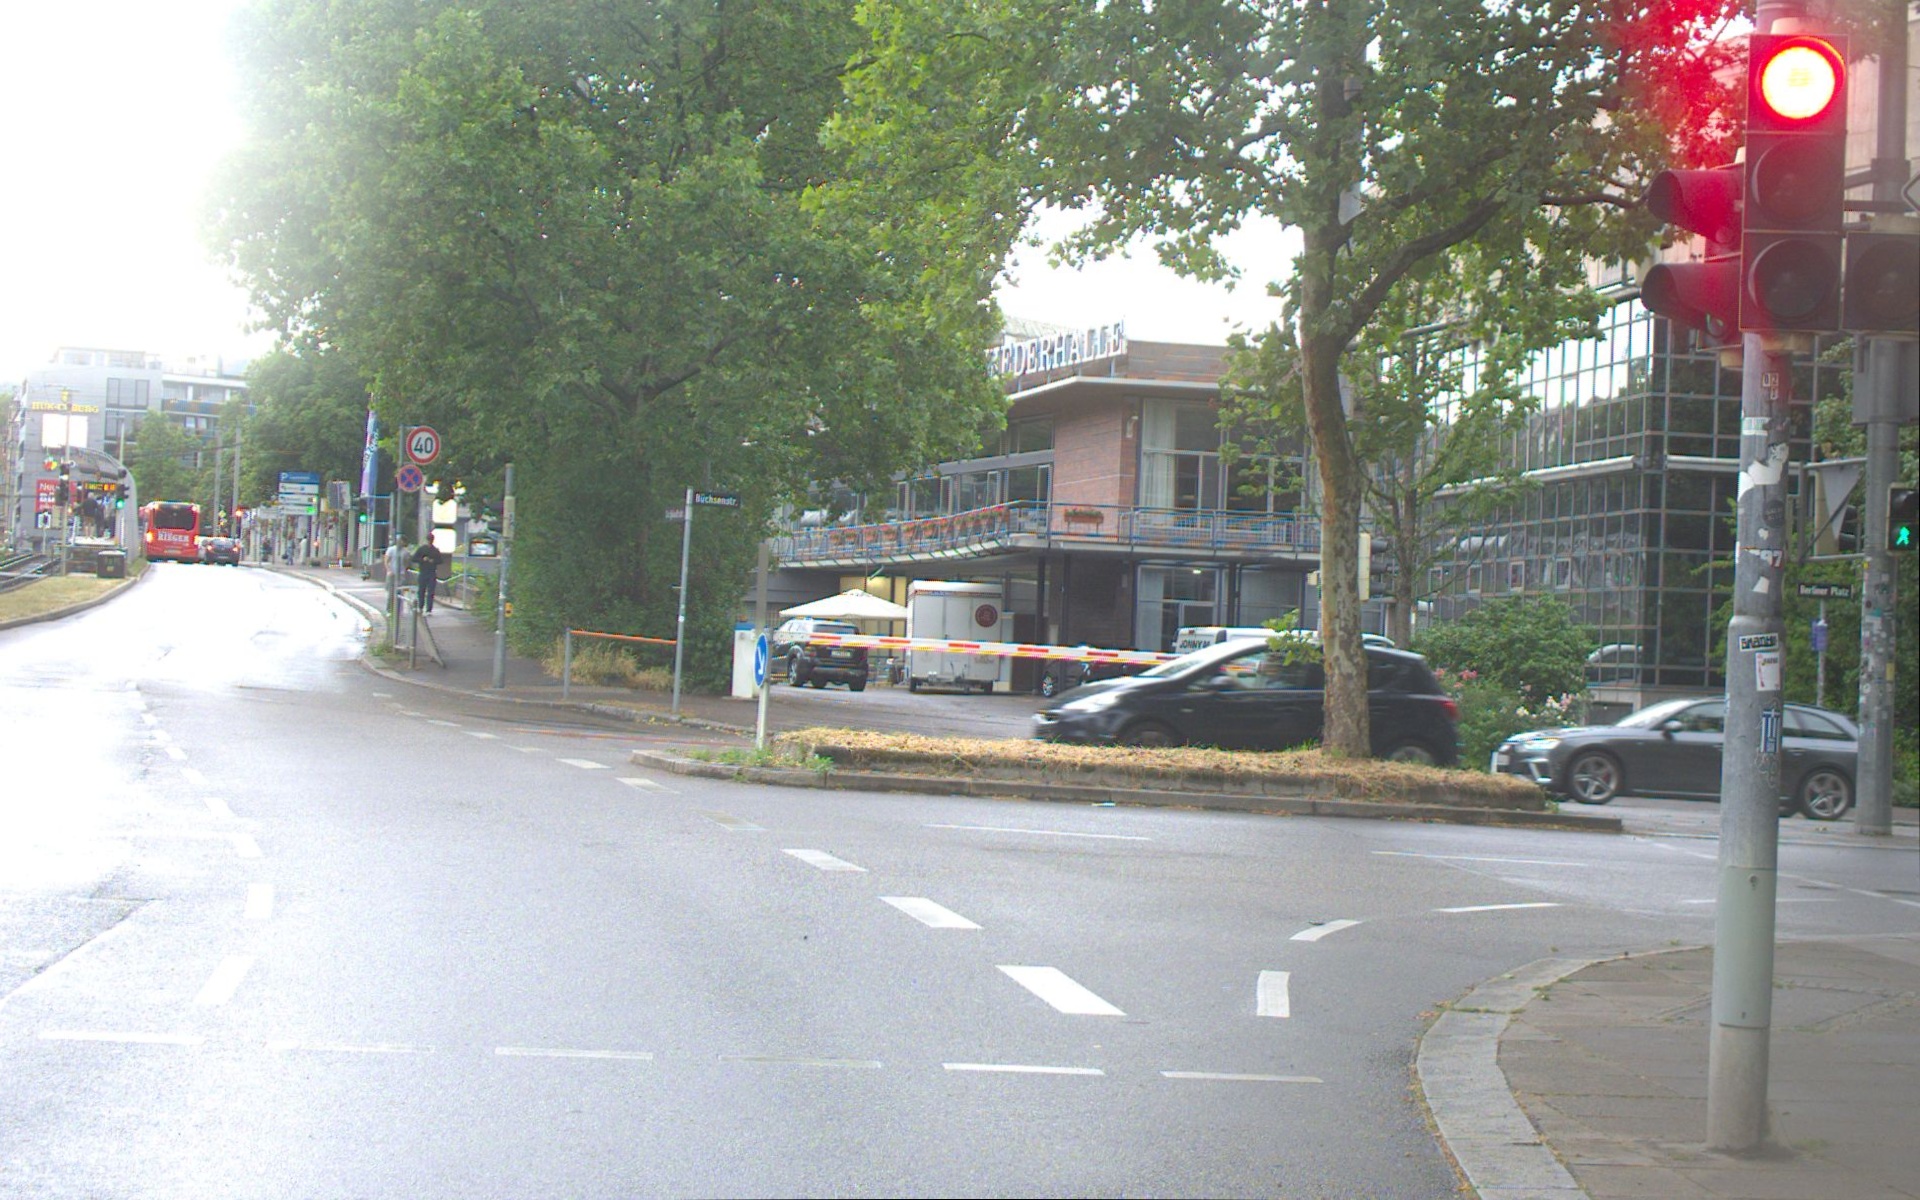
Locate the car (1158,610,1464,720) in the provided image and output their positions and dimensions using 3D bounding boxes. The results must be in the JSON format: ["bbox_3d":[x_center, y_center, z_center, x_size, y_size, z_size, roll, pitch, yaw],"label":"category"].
[{"bbox_3d":[6.366,1.178,62.201,5.198,1.725,1.875,3,1,-25],"label":"car"}]

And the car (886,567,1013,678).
[{"bbox_3d":[-0.346,0.543,91.498,2.731,2.686,6.923,3,1,-5],"label":"car"}]

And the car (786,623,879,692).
[{"bbox_3d":[-3.235,1.458,87.945,2.019,1.546,4.350,3,1,2],"label":"car"}]

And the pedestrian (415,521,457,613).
[{"bbox_3d":[-11.643,-0.733,76.408,0.874,2.007,1.077,1,0,-8],"label":"pedestrian"}]

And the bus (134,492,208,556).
[{"bbox_3d":[-40.490,-3.855,176.412,3.589,3.160,10.423,1,1,-13],"label":"bus"}]

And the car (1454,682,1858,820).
[{"bbox_3d":[8.316,1.804,41.322,4.335,1.514,2.000,1,1,-6],"label":"car"}]

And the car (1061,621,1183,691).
[{"bbox_3d":[4.170,1.436,89.212,2.019,1.546,4.351,3,1,-13],"label":"car"}]

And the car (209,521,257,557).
[{"bbox_3d":[-38.399,-3.201,181.394,2.362,1.810,5.185,1,1,-13],"label":"car"}]

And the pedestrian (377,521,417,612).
[{"bbox_3d":[-12.484,-0.743,76.239,0.814,2.007,1.077,1,0,-8],"label":"pedestrian"}]

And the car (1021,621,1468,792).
[{"bbox_3d":[2.639,0.988,32.330,3.858,1.352,1.633,3,1,-8],"label":"car"}]
